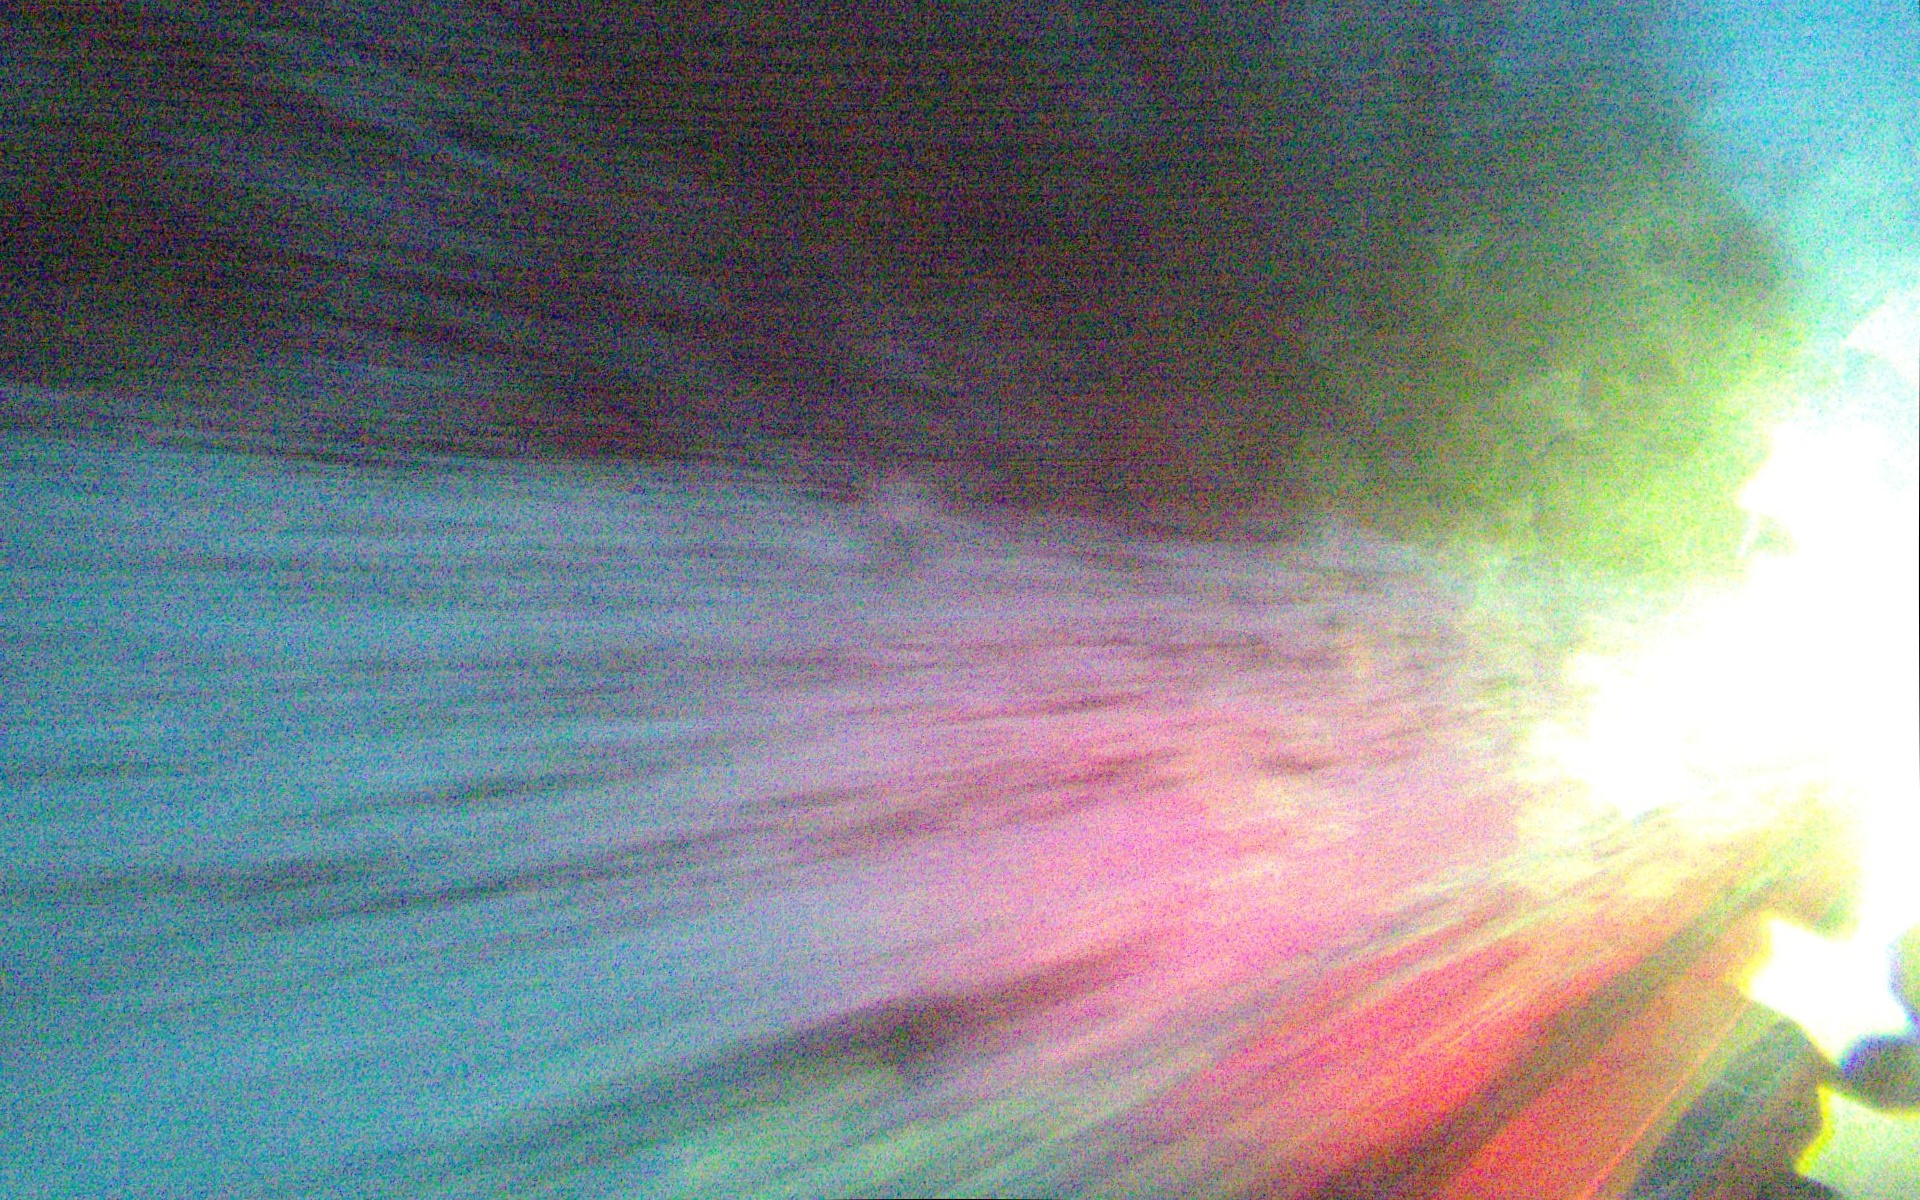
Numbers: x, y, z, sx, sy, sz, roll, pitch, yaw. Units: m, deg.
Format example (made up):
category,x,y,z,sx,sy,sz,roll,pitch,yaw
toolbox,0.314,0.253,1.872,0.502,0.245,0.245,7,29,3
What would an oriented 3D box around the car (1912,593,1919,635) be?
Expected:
category,x,y,z,sx,sy,sz,roll,pitch,yaw
car,35.991,0.494,36.694,1.992,1.438,3.940,1,2,41
